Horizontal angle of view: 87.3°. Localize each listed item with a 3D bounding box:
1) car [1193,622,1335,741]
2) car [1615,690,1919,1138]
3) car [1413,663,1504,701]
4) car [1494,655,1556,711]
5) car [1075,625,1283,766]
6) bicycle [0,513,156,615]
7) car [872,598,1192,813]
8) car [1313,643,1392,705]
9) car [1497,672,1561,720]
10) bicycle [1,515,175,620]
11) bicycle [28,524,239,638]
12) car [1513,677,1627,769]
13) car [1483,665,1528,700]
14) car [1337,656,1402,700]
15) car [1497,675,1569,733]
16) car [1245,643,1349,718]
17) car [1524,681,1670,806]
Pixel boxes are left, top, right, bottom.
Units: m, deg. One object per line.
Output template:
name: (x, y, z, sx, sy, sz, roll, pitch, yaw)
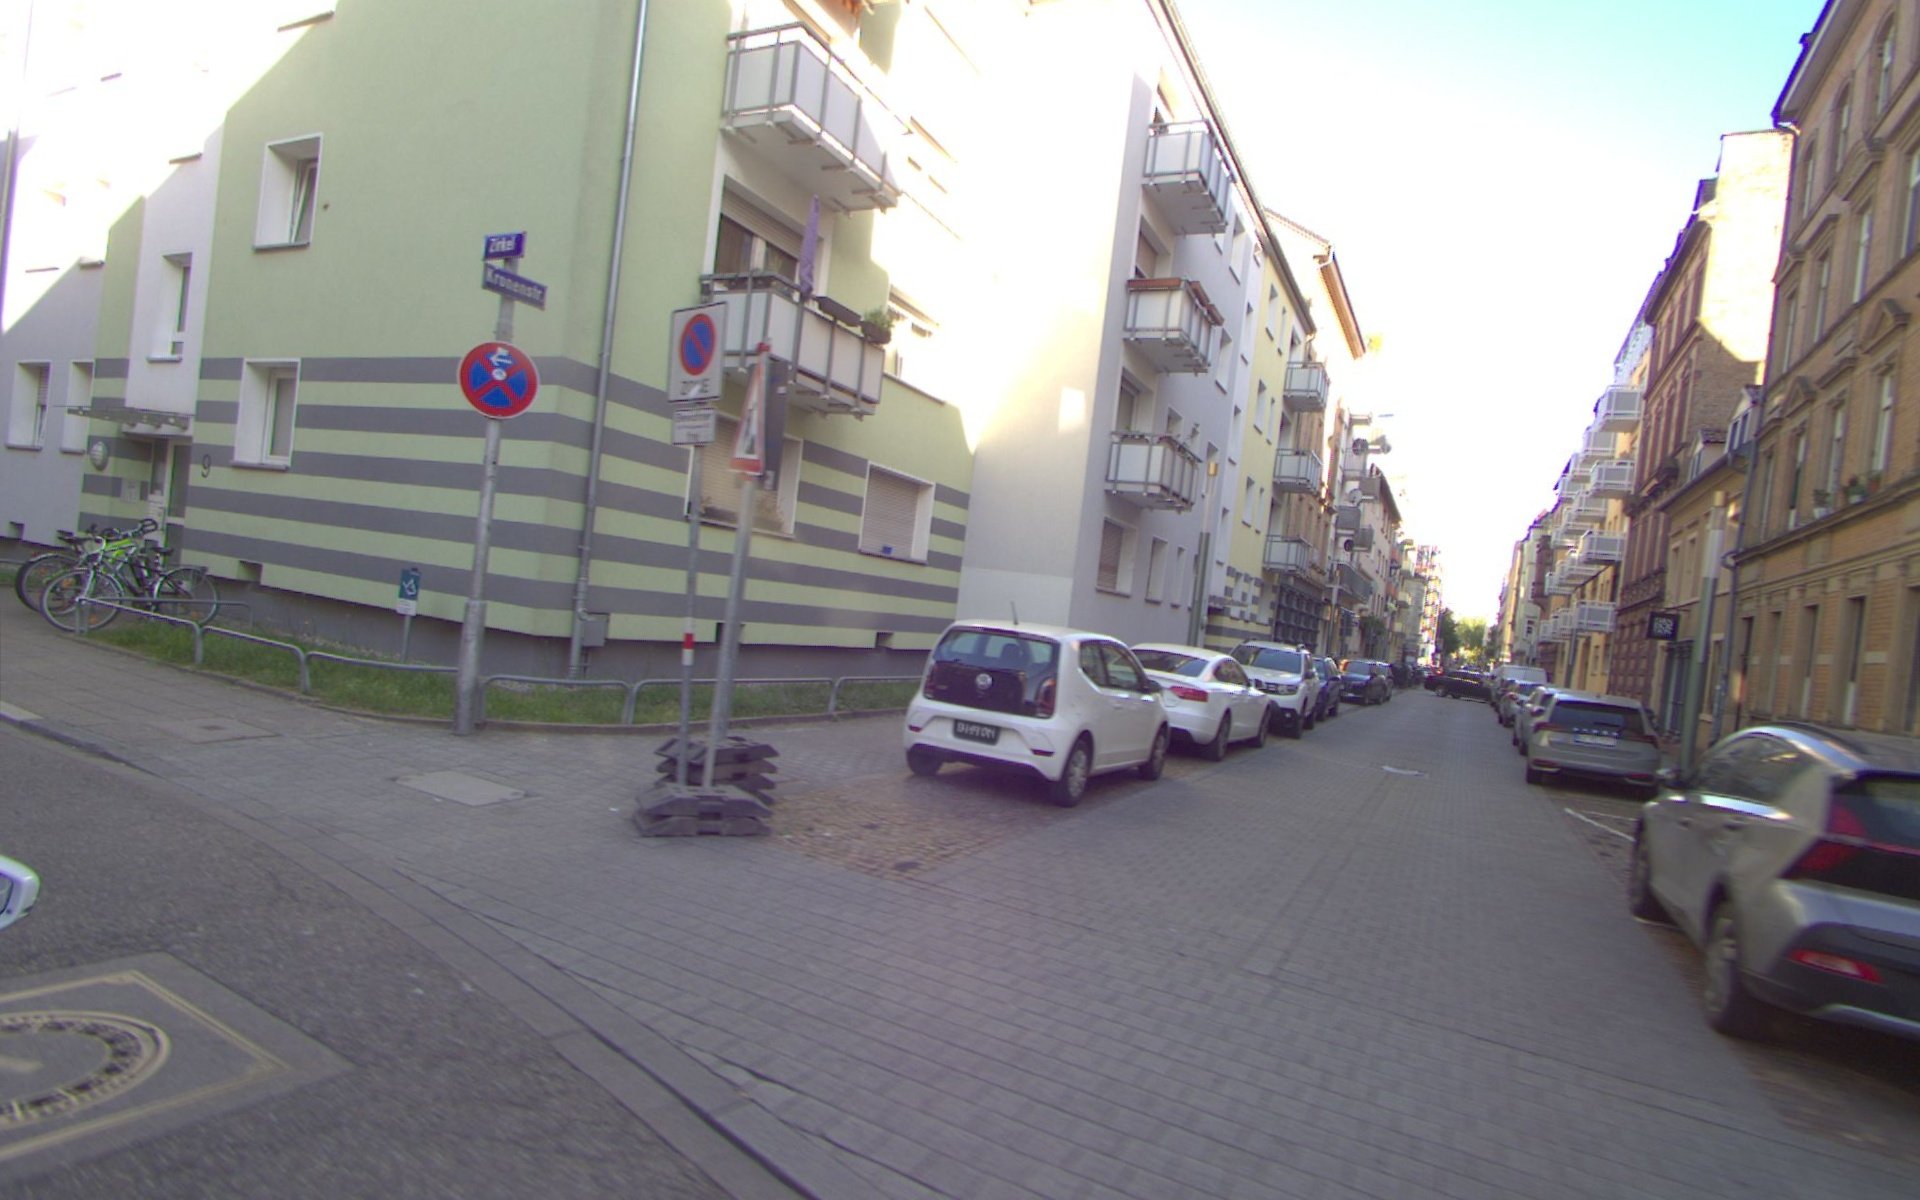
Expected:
car: (5.955, 1.500, 19.378, 1.757, 1.739, 4.031, 11, 2, 26)
car: (4.932, 1.411, 5.346, 1.833, 1.500, 4.086, 7, 0, 27)
car: (25.689, 4.230, 51.944, 1.759, 1.476, 3.742, 5, 0, -38)
car: (25.247, 3.765, 45.074, 2.123, 2.164, 4.654, 6, -3, 29)
car: (3.262, 1.275, 14.282, 1.679, 1.500, 4.218, 7, 0, 28)
bicycle: (-10.767, -0.428, 12.265, 0.233, 1.157, 1.605, 7, 4, 19)
car: (0.883, 0.948, 9.794, 1.679, 1.500, 3.553, 7, 0, 28)
car: (13.474, 2.555, 34.394, 1.758, 1.738, 4.337, 7, -1, 29)
car: (22.551, 3.758, 39.969, 1.989, 1.566, 3.939, 5, 0, 29)
bicycle: (-10.513, -0.382, 12.196, 0.278, 1.157, 1.643, 7, 4, 19)
bicycle: (-9.328, -0.203, 11.432, 0.542, 1.157, 1.749, 8, 4, 26)
car: (12.824, 2.507, 21.361, 1.753, 1.500, 3.961, 6, 0, 29)
car: (32.580, 4.890, 60.139, 2.123, 1.817, 4.649, 6, 0, 29)
car: (15.996, 3.063, 39.162, 1.758, 1.404, 3.951, 7, -1, 29)
car: (17.971, 3.230, 31.682, 1.753, 1.499, 3.963, 6, -2, 29)
car: (8.322, 1.961, 24.601, 1.757, 1.447, 4.185, 7, -1, 26)
car: (10.107, 2.171, 16.155, 1.646, 1.500, 4.173, 6, 0, 31)
